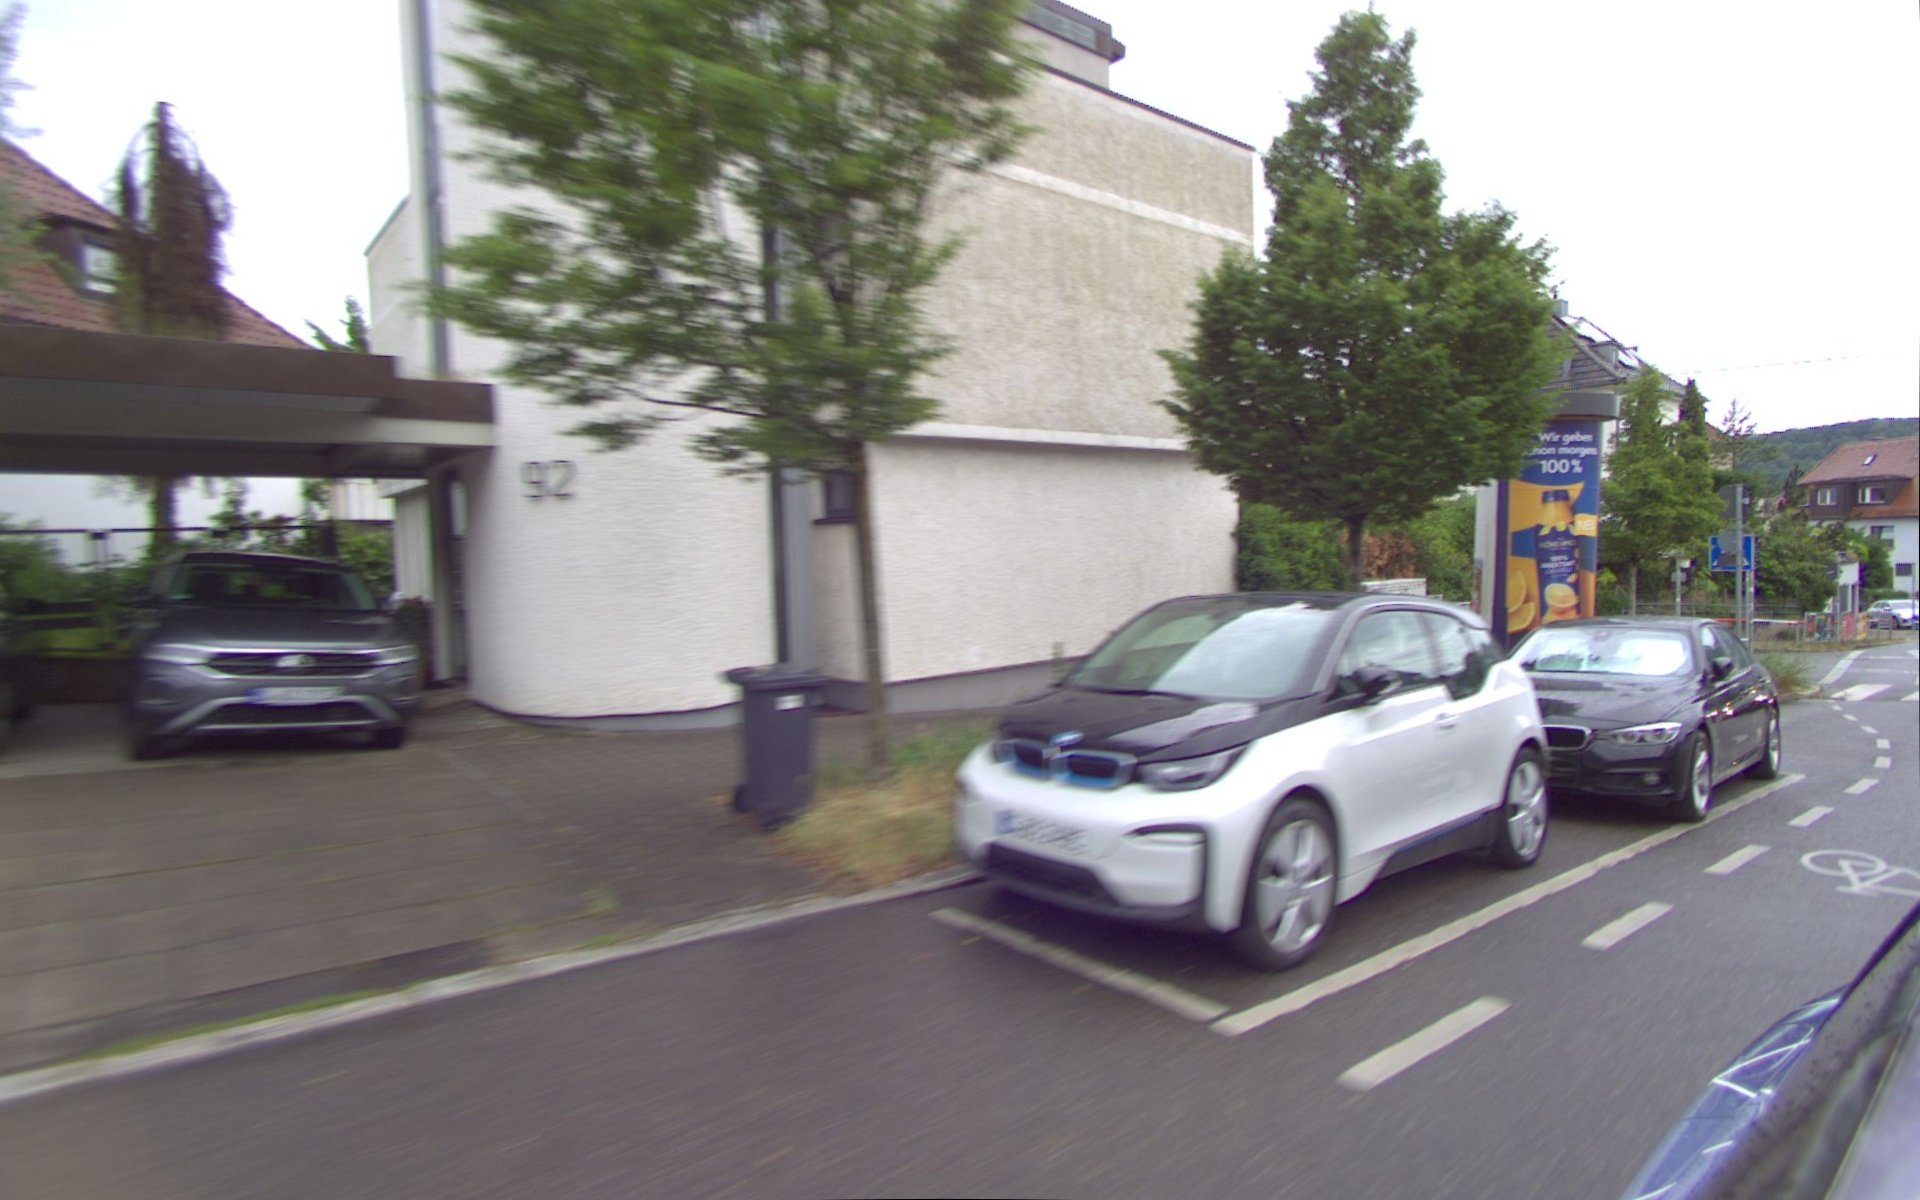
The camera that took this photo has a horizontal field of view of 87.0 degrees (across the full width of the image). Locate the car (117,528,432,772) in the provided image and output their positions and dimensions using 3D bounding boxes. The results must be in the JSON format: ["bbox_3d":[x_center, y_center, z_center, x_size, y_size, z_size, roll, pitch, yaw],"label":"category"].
[{"bbox_3d":[-5.728,0.298,8.366,1.749,1.526,3.710,1,0,-38],"label":"car"}]

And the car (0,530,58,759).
[{"bbox_3d":[-8.041,0.282,7.432,1.797,1.499,4.308,1,-1,-38],"label":"car"}]

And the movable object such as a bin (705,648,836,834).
[{"bbox_3d":[-1.144,0.816,6.083,0.592,0.986,0.488,1,4,-33],"label":"movable object such as a bin"}]

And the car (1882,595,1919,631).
[{"bbox_3d":[53.168,0.720,55.988,1.996,1.927,4.059,1,0,25],"label":"car"}]

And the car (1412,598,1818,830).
[{"bbox_3d":[5.800,0.734,8.668,4.798,1.457,1.781,1,0,-42],"label":"car"}]

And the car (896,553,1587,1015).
[{"bbox_3d":[1.773,0.666,5.569,4.047,1.628,1.732,0,-1,-41],"label":"car"}]
